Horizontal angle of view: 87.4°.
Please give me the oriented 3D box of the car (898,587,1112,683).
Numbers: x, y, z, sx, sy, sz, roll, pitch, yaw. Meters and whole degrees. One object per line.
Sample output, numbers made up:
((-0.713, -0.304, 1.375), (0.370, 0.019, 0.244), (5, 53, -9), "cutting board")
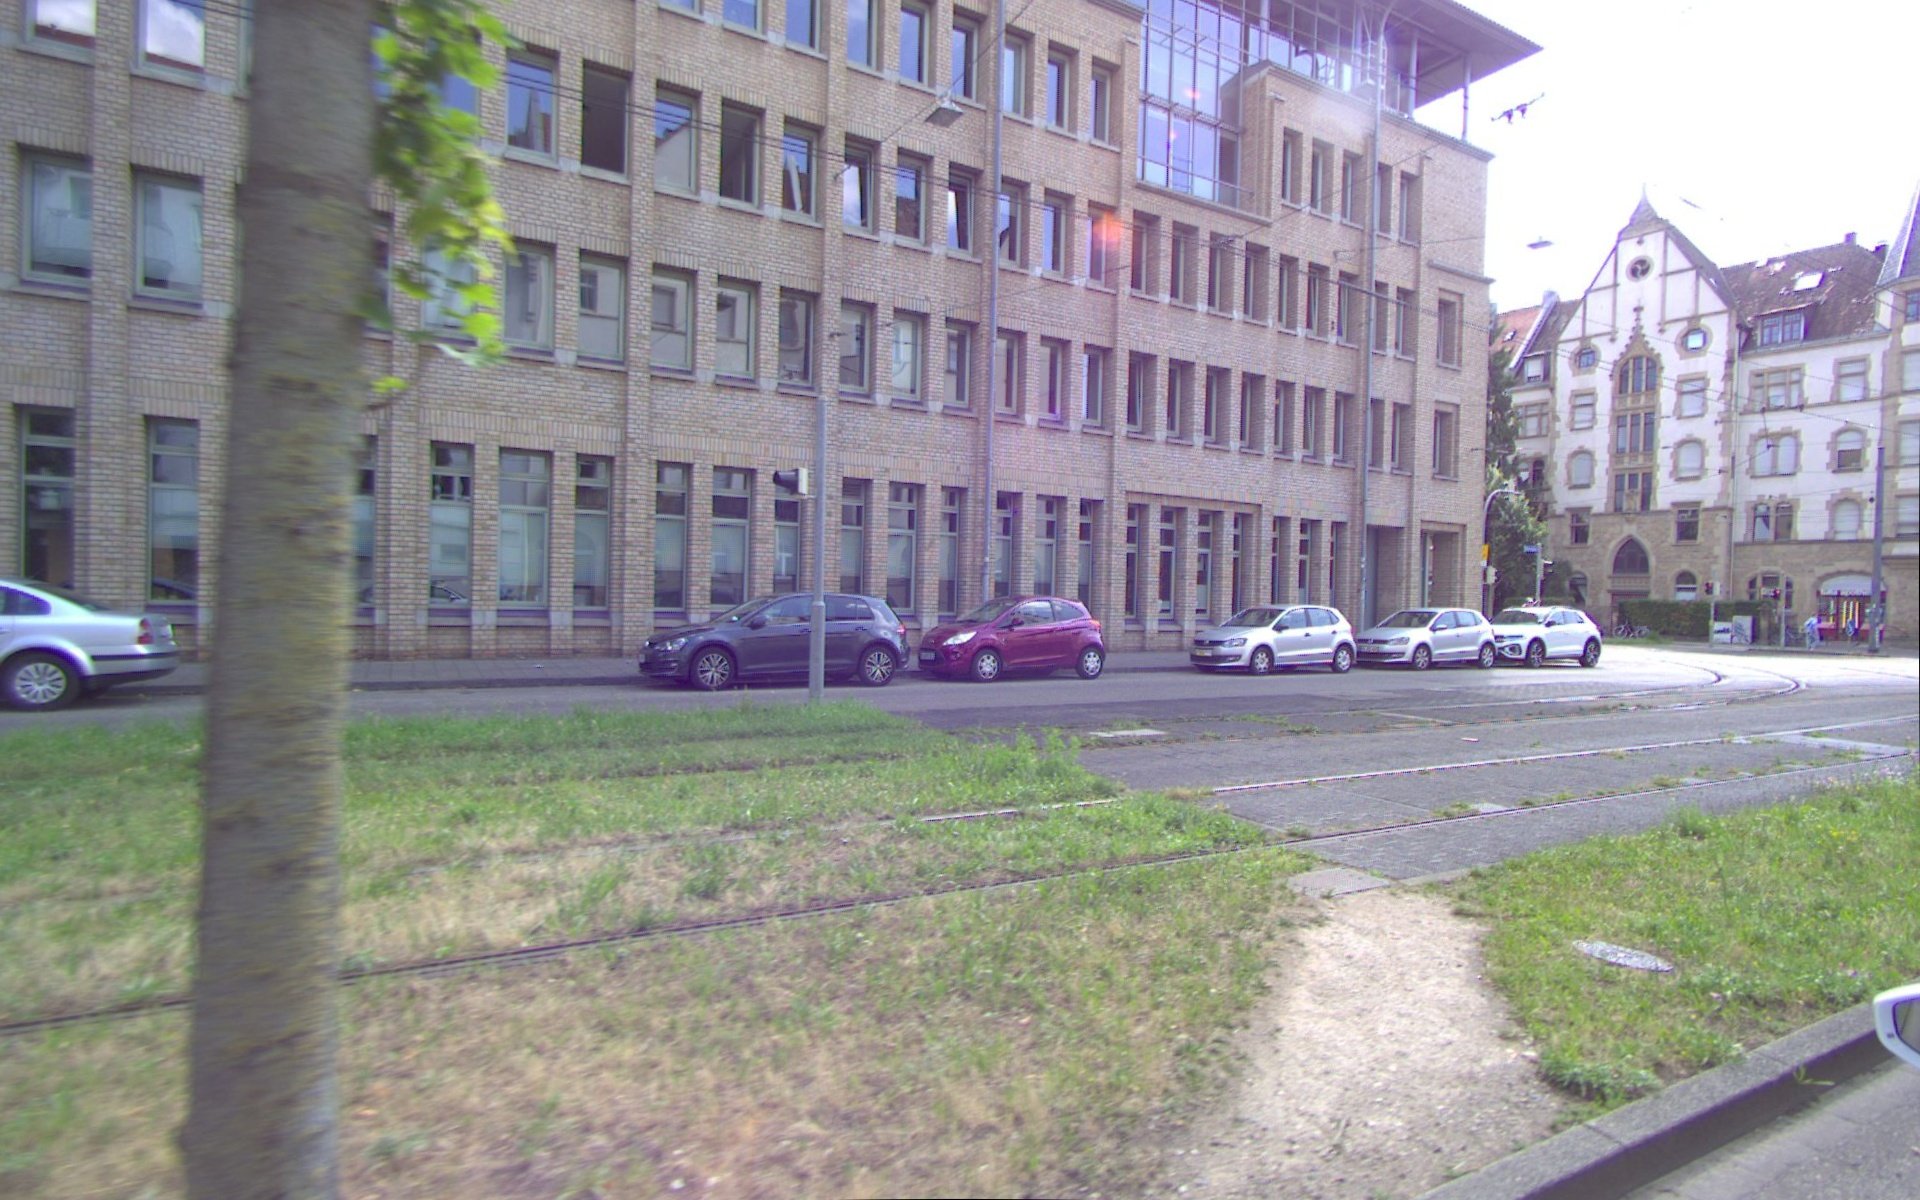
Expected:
((0.821, 0.597, 17.928), (3.506, 1.551, 1.576), (1, 1, -29), "car")

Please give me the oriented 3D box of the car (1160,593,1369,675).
((6.444, 0.690, 21.185), (4.158, 1.551, 1.843), (1, 1, -29), "car")

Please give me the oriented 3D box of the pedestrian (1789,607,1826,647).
((38.247, 1.213, 45.340), (1.003, 1.745, 0.776), (2, 1, 17), "pedestrian")

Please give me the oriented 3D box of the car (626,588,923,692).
((-2.880, 0.581, 15.716), (4.187, 1.415, 1.924), (1, 1, -29), "car")

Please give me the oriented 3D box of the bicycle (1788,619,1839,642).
((44.456, 1.590, 52.318), (0.772, 1.095, 1.900), (1, 0, -39), "bicycle")

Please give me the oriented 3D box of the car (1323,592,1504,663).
((10.818, 0.634, 23.948), (3.965, 1.551, 1.924), (1, 1, -29), "car")

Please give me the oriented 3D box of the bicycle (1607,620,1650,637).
((36.638, 1.535, 55.061), (0.466, 0.859, 1.900), (1, 0, -39), "bicycle")

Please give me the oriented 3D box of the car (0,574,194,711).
((-11.145, 0.413, 10.764), (4.429, 1.415, 1.708), (1, 1, -29), "car")

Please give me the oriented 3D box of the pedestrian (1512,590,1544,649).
((17.942, 0.613, 31.714), (0.750, 1.819, 0.957), (2, 1, 35), "pedestrian")

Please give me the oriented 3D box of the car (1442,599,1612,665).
((14.740, 0.818, 26.083), (4.206, 1.555, 1.924), (1, 1, -29), "car")
